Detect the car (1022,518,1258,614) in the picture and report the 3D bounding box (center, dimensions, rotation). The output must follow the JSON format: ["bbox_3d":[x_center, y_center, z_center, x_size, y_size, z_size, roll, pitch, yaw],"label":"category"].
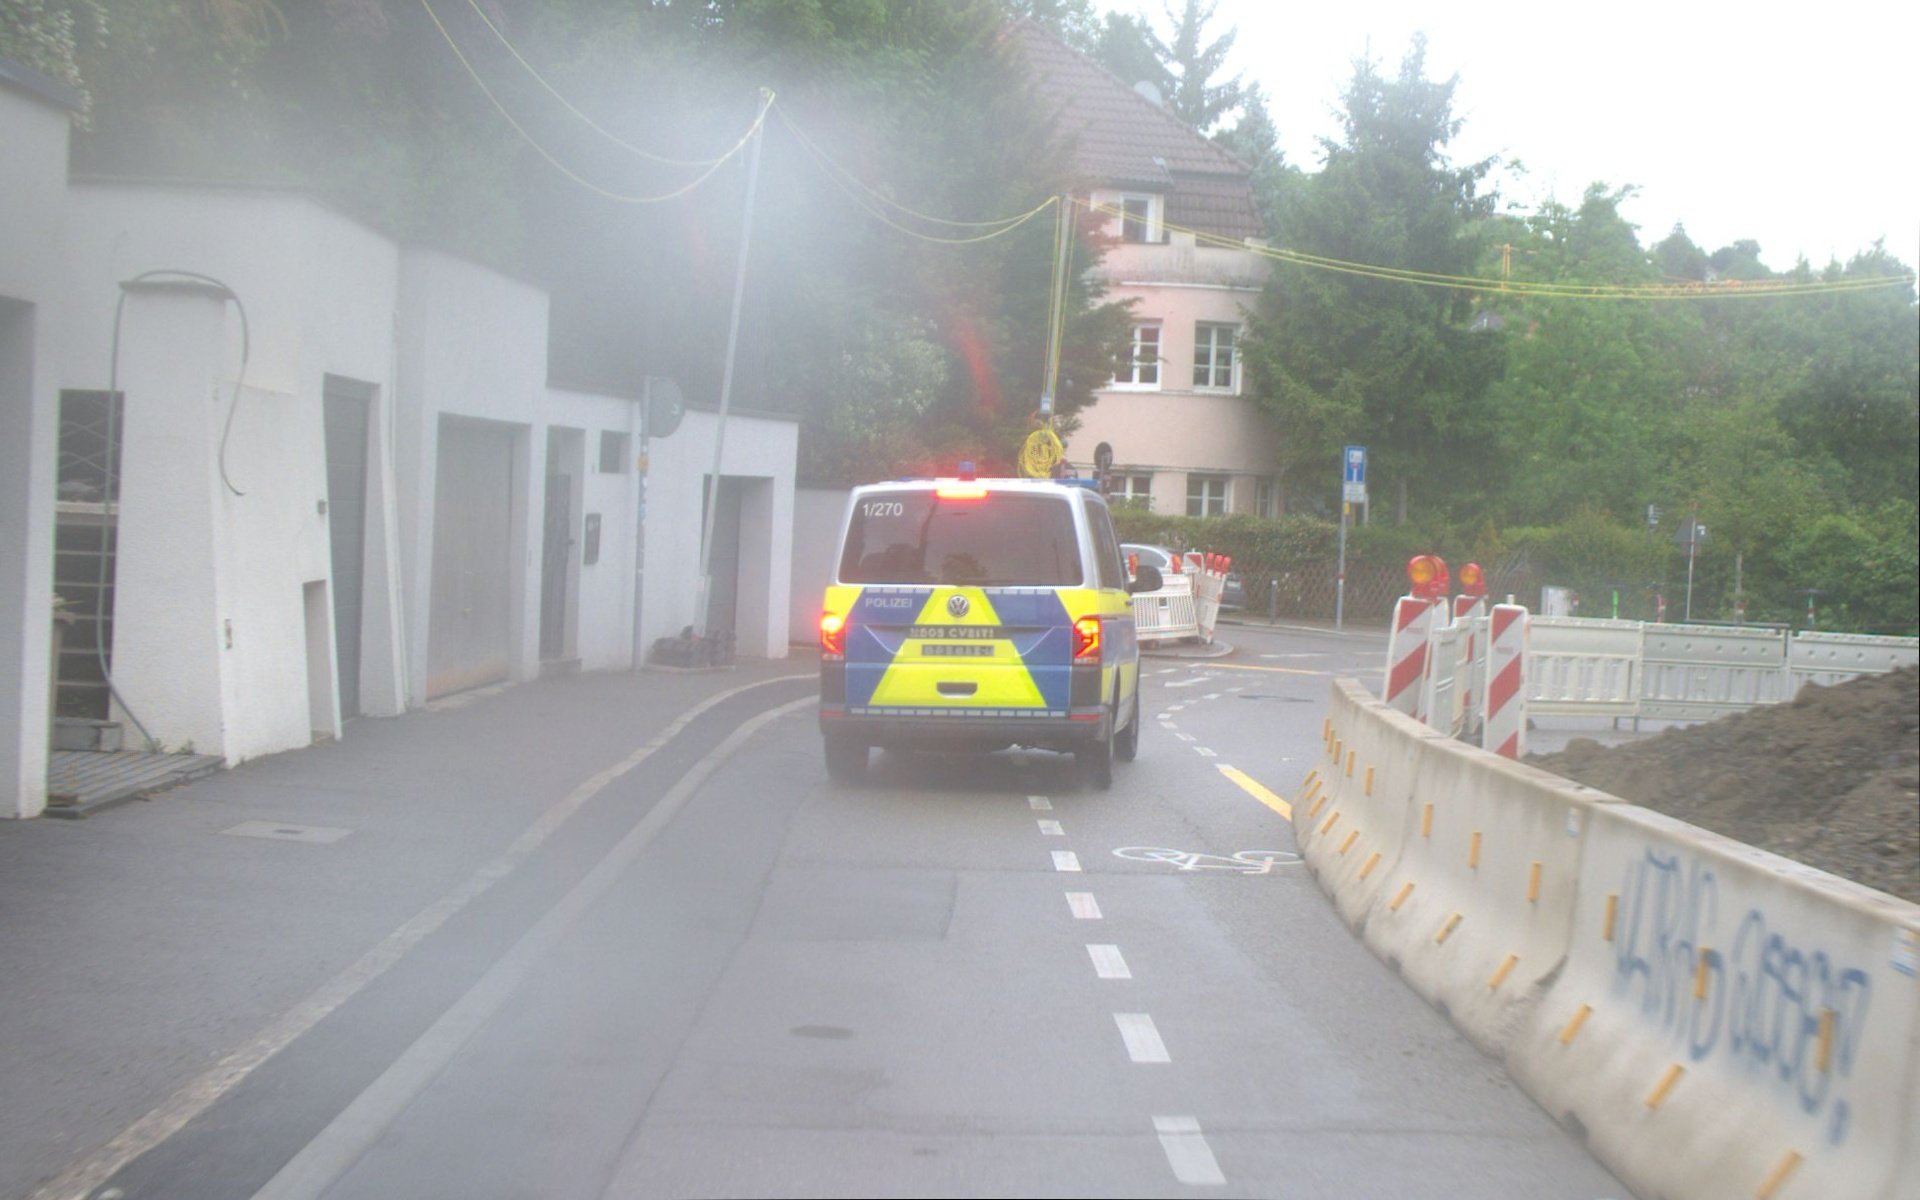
[{"bbox_3d":[3.375,-0.638,64.603,3.994,1.512,1.725,4,0,30],"label":"car"}]

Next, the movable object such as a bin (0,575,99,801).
[{"bbox_3d":[-4.390,0.405,16.148,0.504,1.018,0.522,4,0,-1],"label":"movable object such as a bin"}]

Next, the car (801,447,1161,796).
[{"bbox_3d":[0.252,0.140,23.256,1.908,2.003,4.438,4,0,6],"label":"car"}]

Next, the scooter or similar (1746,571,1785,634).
[{"bbox_3d":[14.879,0.047,63.523,0.464,1.140,0.834,4,0,2],"label":"scooter or similar"}]

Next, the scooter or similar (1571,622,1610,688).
[{"bbox_3d":[11.668,1.015,63.617,0.464,1.182,1.025,4,0,1],"label":"scooter or similar"}]
